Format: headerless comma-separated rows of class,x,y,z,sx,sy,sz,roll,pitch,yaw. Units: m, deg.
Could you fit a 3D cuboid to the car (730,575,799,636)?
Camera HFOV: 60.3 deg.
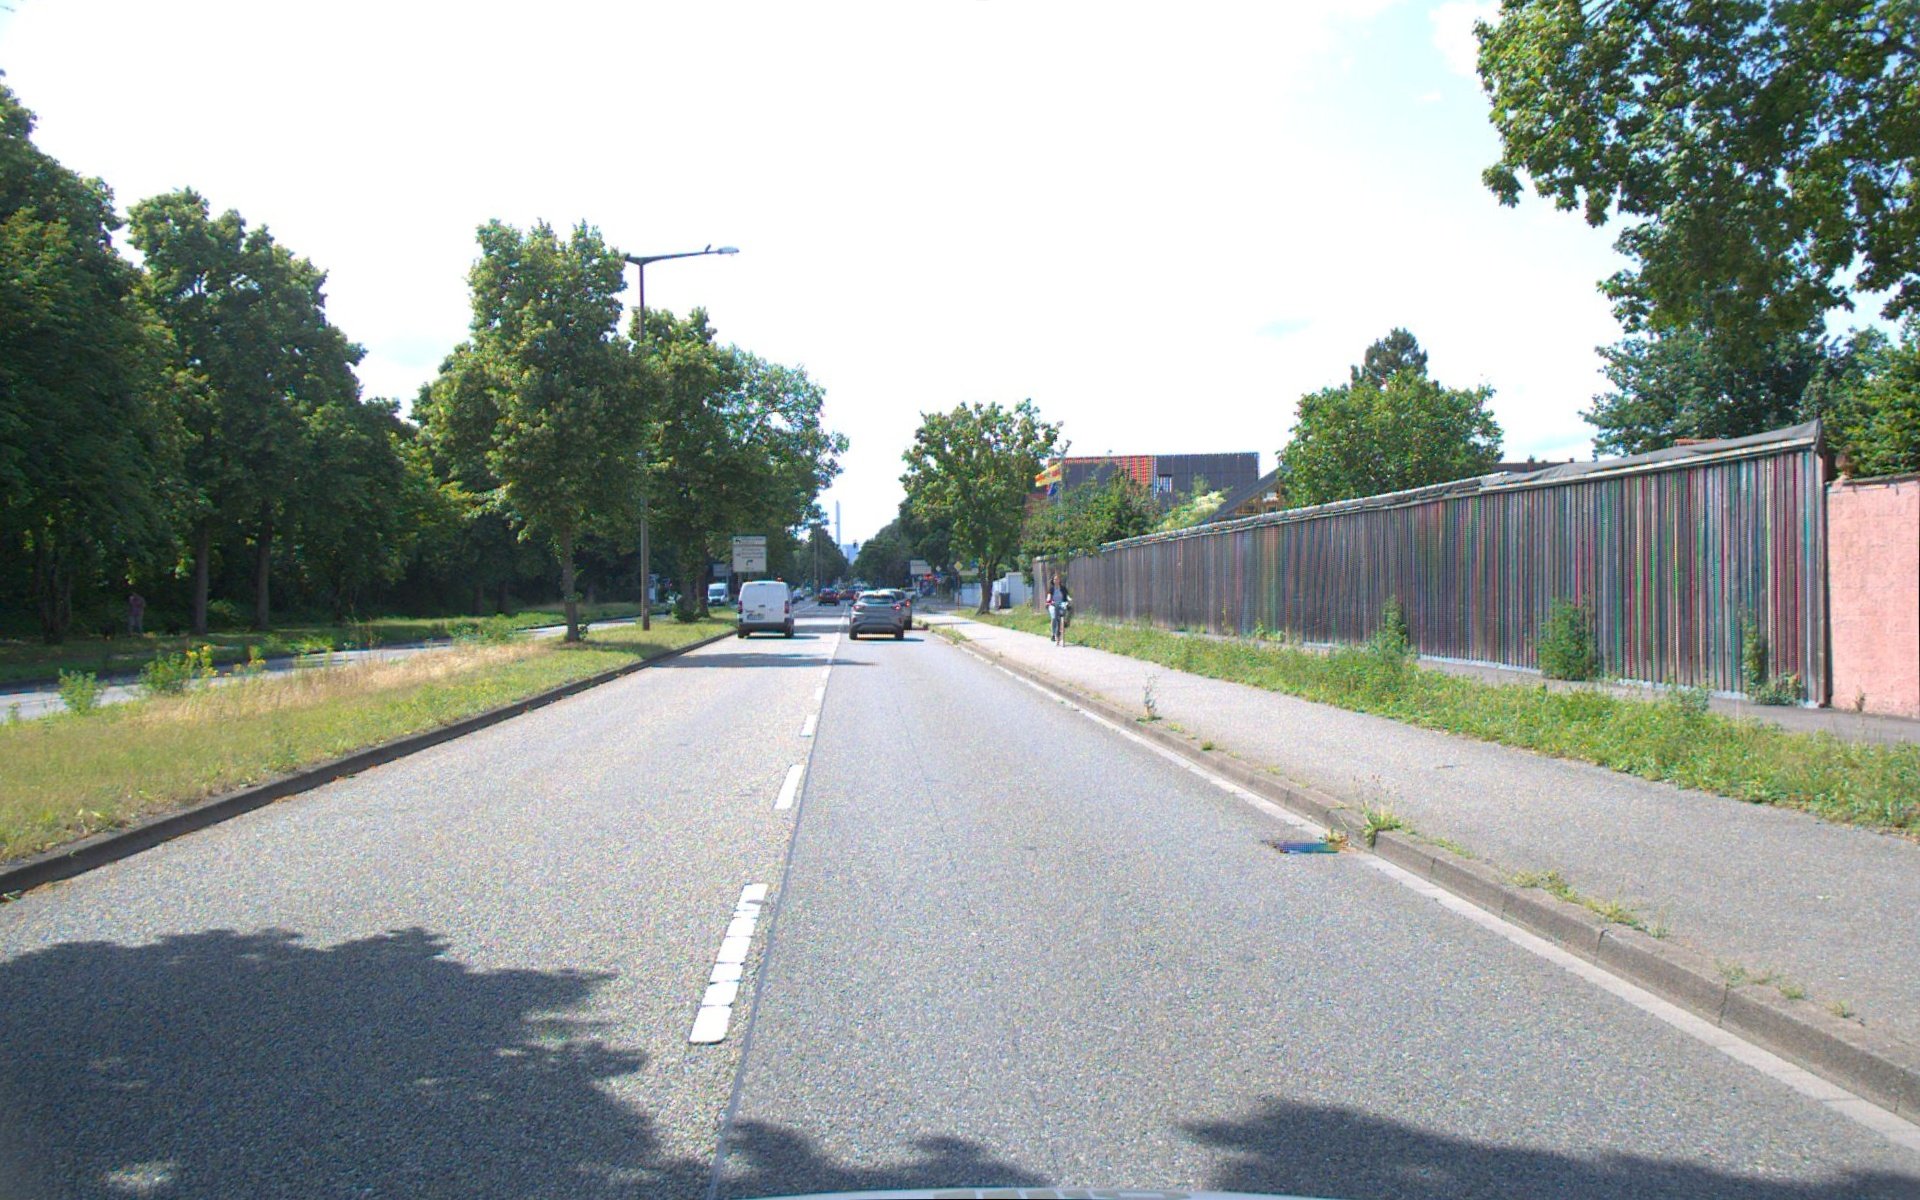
car,-6.529,0.160,55.746,2.025,1.945,4.643,-1,1,-4

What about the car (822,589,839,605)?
car,-14.552,-0.342,185.798,1.744,1.798,4.166,-1,0,-3

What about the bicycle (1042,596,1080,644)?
bicycle,2.441,0.470,40.138,0.633,1.086,2.277,-3,1,-3

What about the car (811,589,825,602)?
car,-19.587,-0.639,228.527,1.744,1.798,4.148,-1,0,-3

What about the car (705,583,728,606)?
car,-26.941,-0.584,183.033,2.005,2.474,5.246,-1,0,-3

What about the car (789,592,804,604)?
car,-23.561,-0.321,238.347,1.855,1.616,4.107,-1,0,-3

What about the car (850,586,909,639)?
car,-2.649,0.376,54.090,1.838,1.616,4.182,-1,0,-3

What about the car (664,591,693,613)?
car,-23.497,0.159,138.267,1.954,1.735,4.190,-1,0,-3

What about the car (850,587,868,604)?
car,-10.875,-0.494,177.892,1.954,1.803,4.144,0,1,-4

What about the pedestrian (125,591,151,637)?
pedestrian,-30.061,0.496,60.489,0.631,1.658,0.656,0,0,-3

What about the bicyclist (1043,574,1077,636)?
bicyclist,2.420,0.114,40.141,0.641,1.436,0.986,-3,0,-3

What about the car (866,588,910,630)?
car,-3.049,0.346,69.092,1.744,1.672,4.193,-1,0,-3

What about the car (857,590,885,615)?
car,-6.076,0.142,112.547,1.843,1.615,3.997,-1,1,-4

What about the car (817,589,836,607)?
car,-14.203,-0.208,175.546,1.902,1.798,4.143,-1,0,-3
